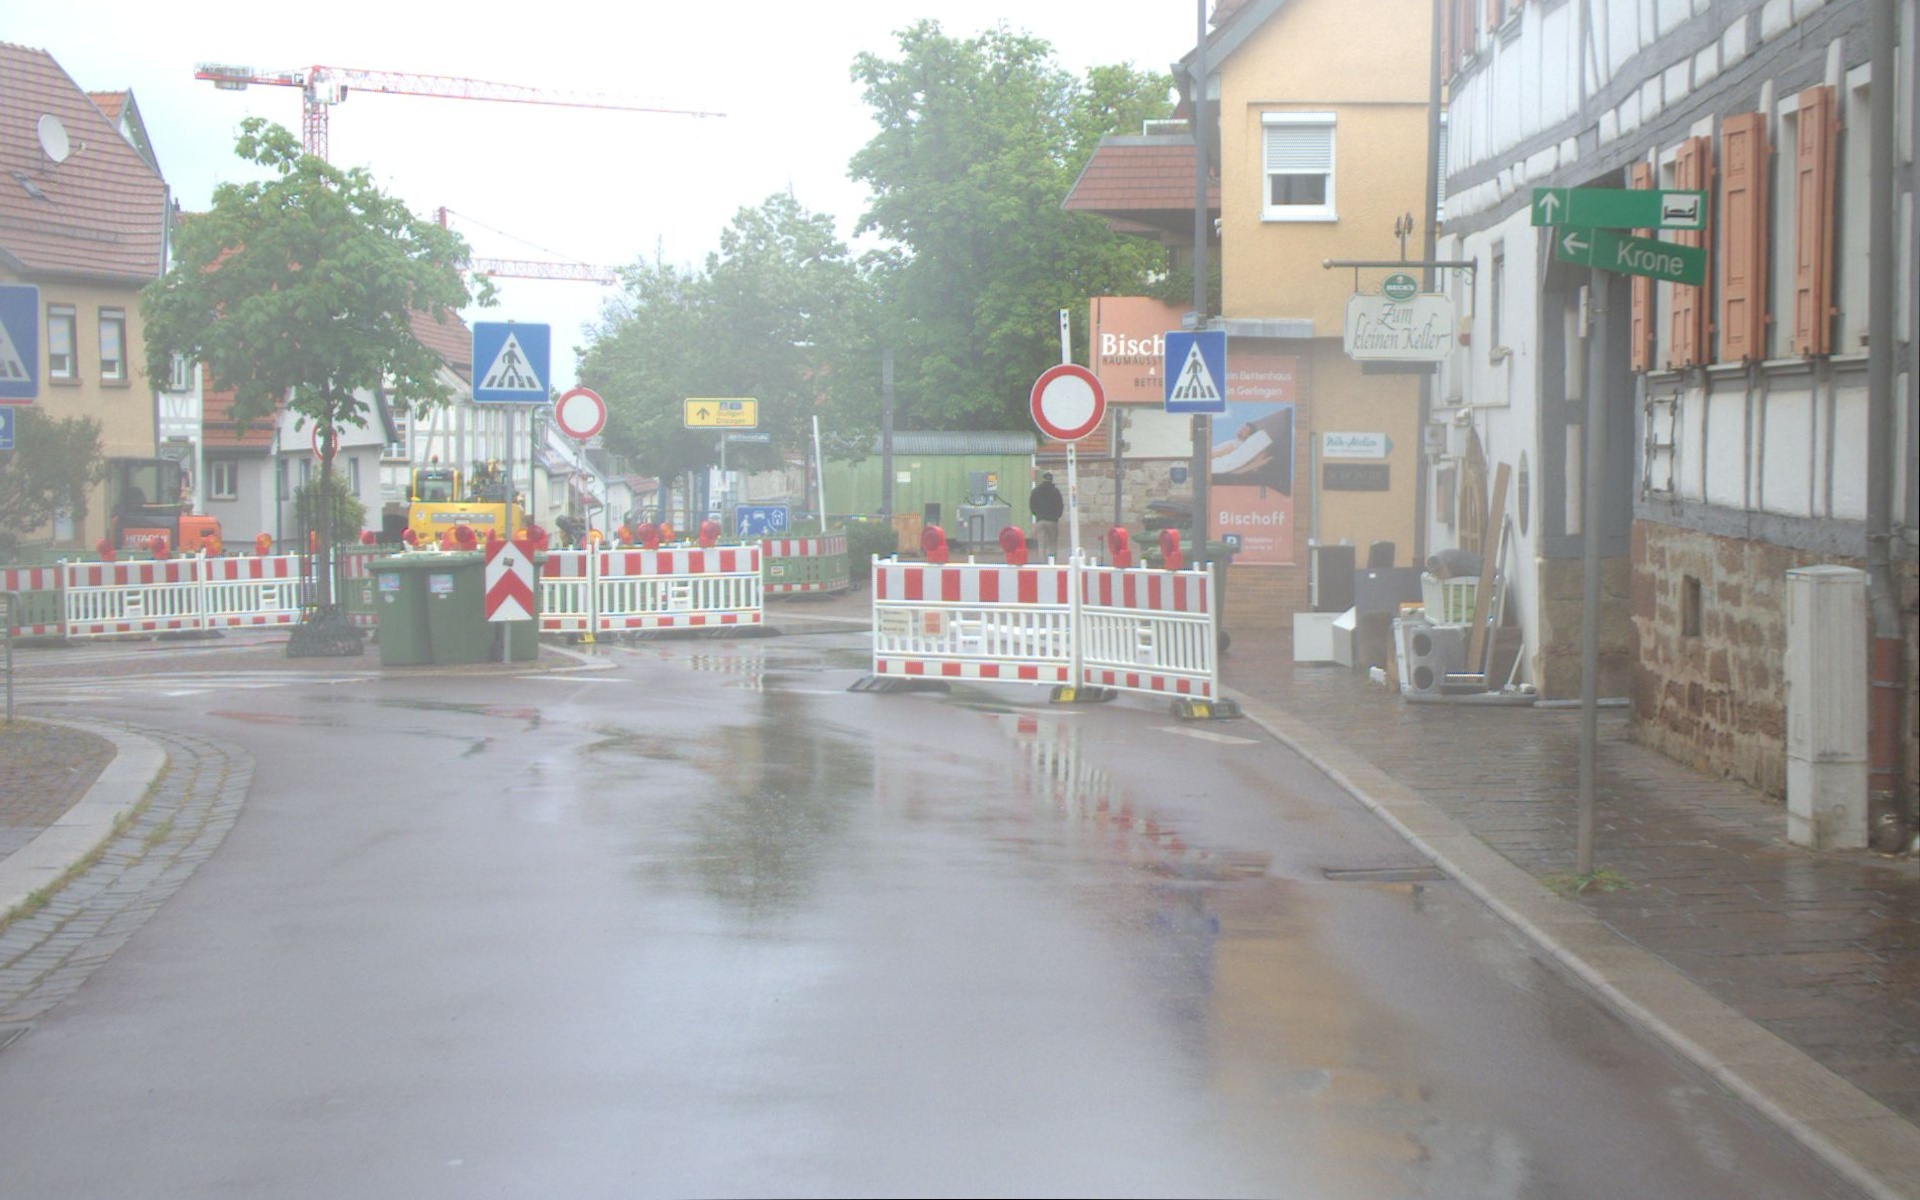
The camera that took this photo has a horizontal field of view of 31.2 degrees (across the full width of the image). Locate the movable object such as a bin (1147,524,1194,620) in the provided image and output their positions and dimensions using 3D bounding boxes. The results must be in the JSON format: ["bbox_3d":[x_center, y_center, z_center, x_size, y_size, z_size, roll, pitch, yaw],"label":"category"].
[{"bbox_3d":[2.576,-0.348,42.119,0.517,1.128,0.580,-3,2,3],"label":"movable object such as a bin"}]

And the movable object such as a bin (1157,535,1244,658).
[{"bbox_3d":[2.163,-0.037,30.985,0.678,1.062,0.540,-1,3,-7],"label":"movable object such as a bin"}]

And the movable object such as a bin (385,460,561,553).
[{"bbox_3d":[-10.975,-2.097,77.749,3.402,2.007,3.479,1,1,1],"label":"movable object such as a bin"}]

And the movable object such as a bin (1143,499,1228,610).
[{"bbox_3d":[3.212,-0.655,48.894,1.065,1.507,1.242,-2,2,7],"label":"movable object such as a bin"}]

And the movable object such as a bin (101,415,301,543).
[{"bbox_3d":[-12.571,-1.976,57.187,1.905,2.007,3.999,-1,1,8],"label":"movable object such as a bin"}]

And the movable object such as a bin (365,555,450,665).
[{"bbox_3d":[-5.274,0.096,32.829,0.541,1.033,0.571,-1,0,33],"label":"movable object such as a bin"}]

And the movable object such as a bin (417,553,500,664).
[{"bbox_3d":[-4.740,0.078,32.493,0.544,1.029,0.533,-1,0,33],"label":"movable object such as a bin"}]

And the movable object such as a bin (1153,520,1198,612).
[{"bbox_3d":[2.761,-0.440,44.021,0.516,1.124,0.580,-3,2,3],"label":"movable object such as a bin"}]

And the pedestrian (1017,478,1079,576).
[{"bbox_3d":[1.588,-1.320,62.334,0.990,1.753,0.852,1,1,-6],"label":"pedestrian"}]

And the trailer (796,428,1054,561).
[{"bbox_3d":[-0.835,-2.420,79.457,5.780,2.937,2.000,1,1,-5],"label":"trailer"}]
